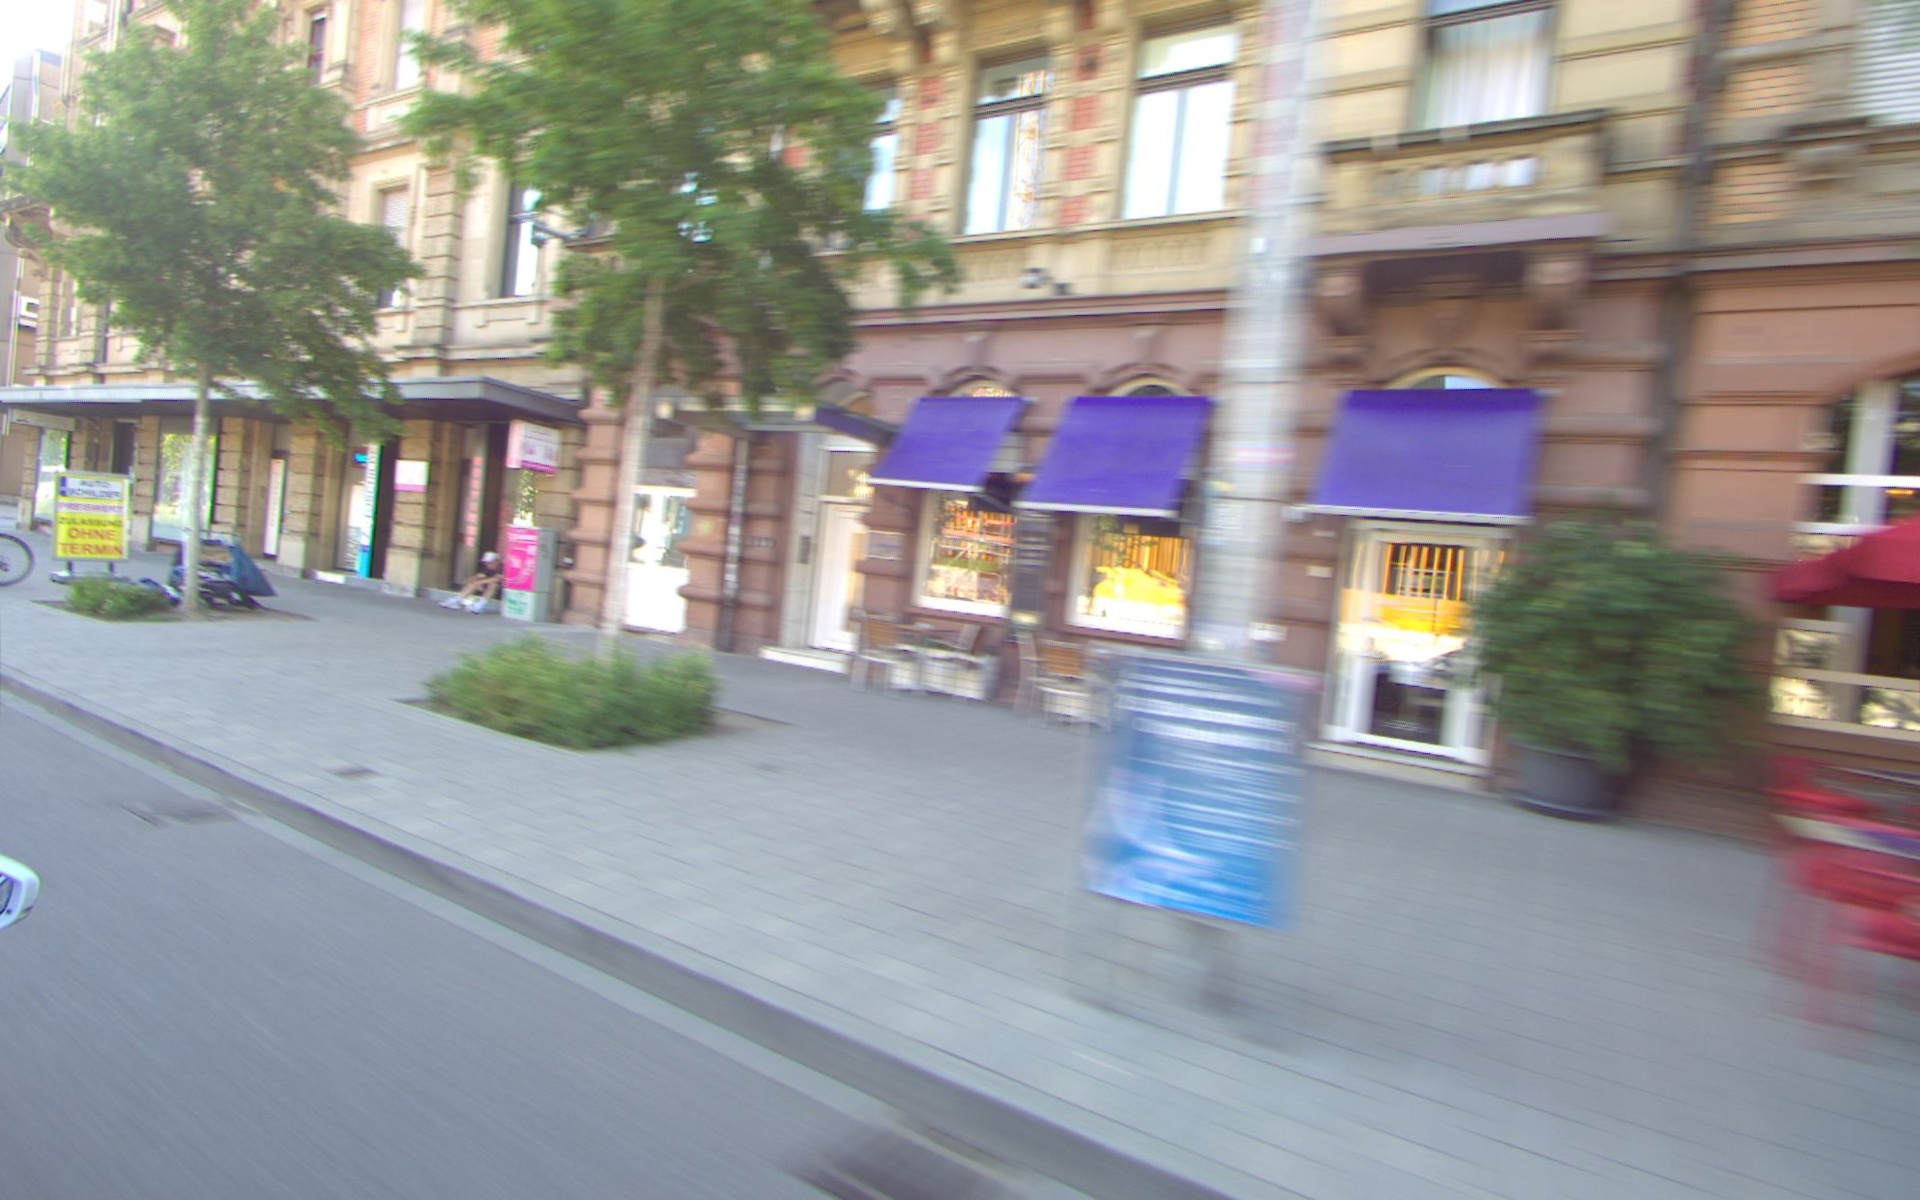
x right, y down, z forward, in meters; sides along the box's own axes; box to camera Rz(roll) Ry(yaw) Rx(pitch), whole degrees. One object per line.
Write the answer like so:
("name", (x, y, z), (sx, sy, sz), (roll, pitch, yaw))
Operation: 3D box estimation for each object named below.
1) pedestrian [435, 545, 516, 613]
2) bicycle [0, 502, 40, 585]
("pedestrian", (-7.788, -0.337, 16.180), (0.791, 0.975, 0.814), (7, 2, 33))
("bicycle", (-13.137, -0.778, 12.962), (0.557, 1.062, 1.802), (8, 3, 37))
